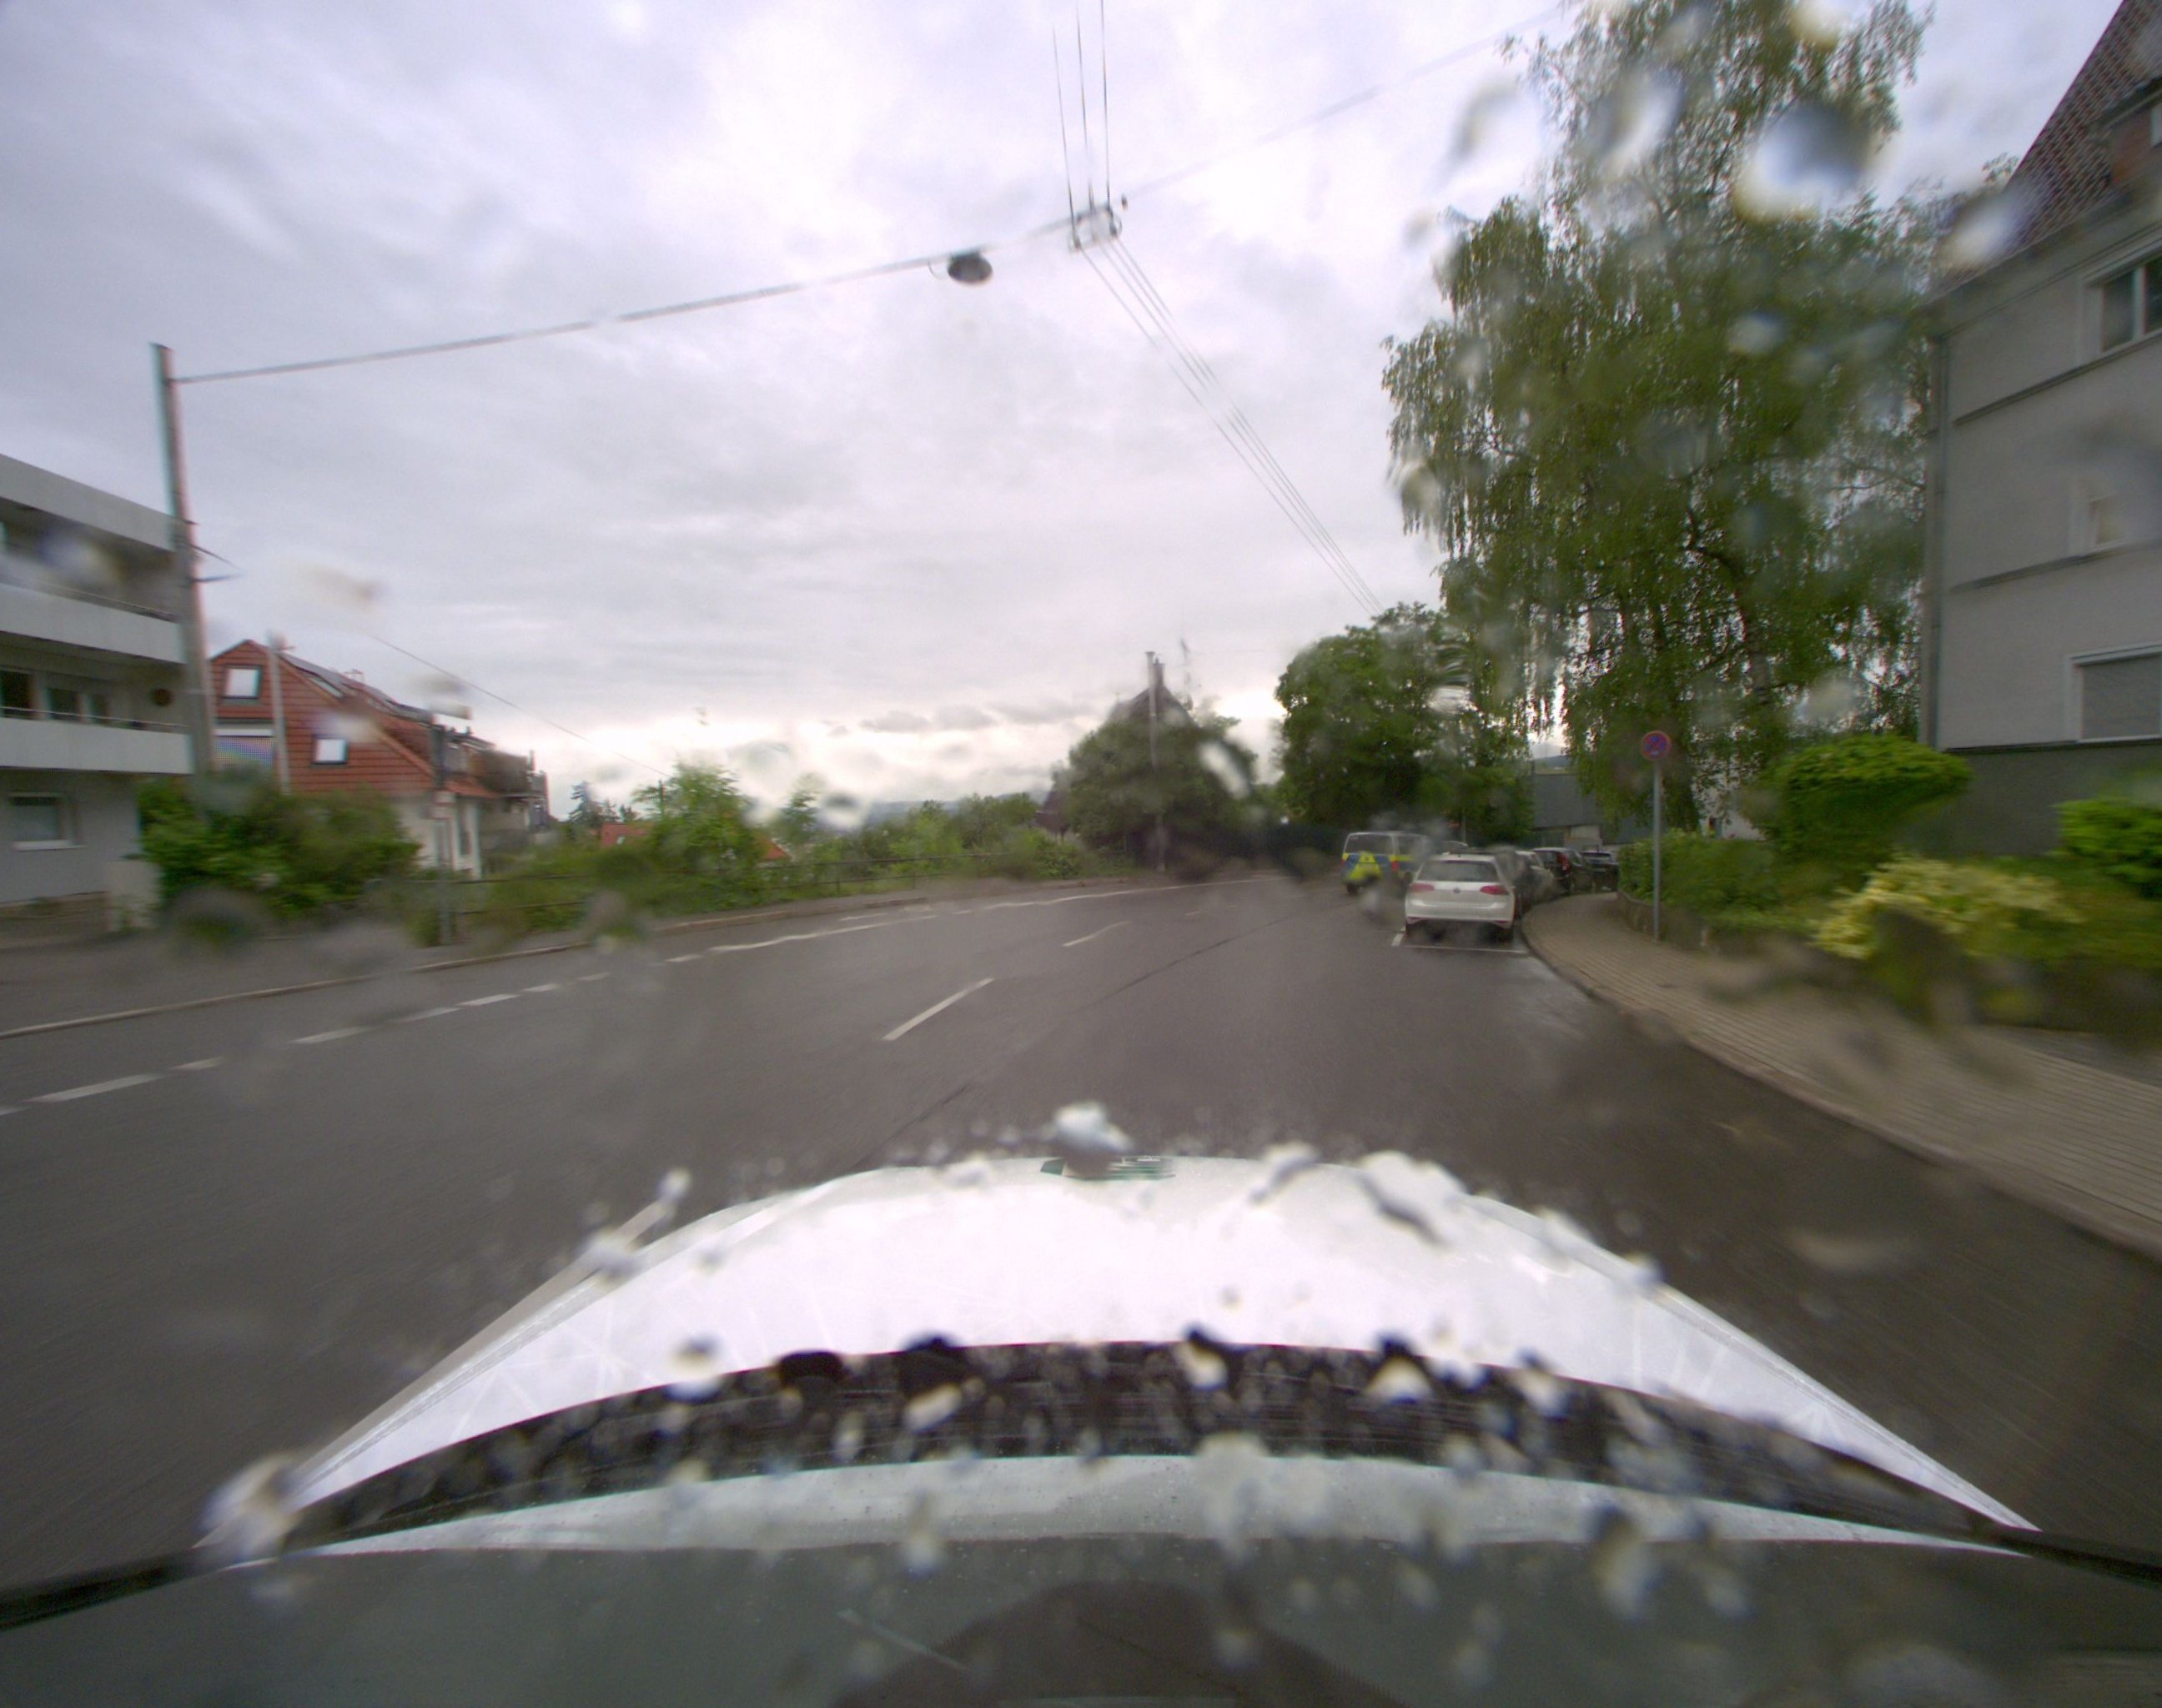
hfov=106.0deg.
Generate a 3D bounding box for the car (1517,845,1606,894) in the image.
[{"bbox_3d":[16.179,0.484,27.343,3.625,1.505,1.605,-1,-1,-43],"label":"car"}]

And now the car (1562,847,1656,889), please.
[{"bbox_3d":[19.734,0.496,30.382,4.088,1.435,1.701,-1,0,-38],"label":"car"}]

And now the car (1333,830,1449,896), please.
[{"bbox_3d":[10.091,0.244,26.297,1.975,1.893,4.598,3,2,41],"label":"car"}]

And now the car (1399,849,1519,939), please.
[{"bbox_3d":[7.158,0.652,15.281,1.773,1.446,4.130,-1,0,27],"label":"car"}]

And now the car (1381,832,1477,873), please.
[{"bbox_3d":[15.355,-0.071,35.881,4.302,1.607,1.813,-2,0,-33],"label":"car"}]

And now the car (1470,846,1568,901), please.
[{"bbox_3d":[12.807,0.520,23.697,1.709,1.464,4.056,-1,0,40],"label":"car"}]

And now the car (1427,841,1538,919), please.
[{"bbox_3d":[9.236,0.505,18.542,1.608,1.519,4.355,-1,1,35],"label":"car"}]
